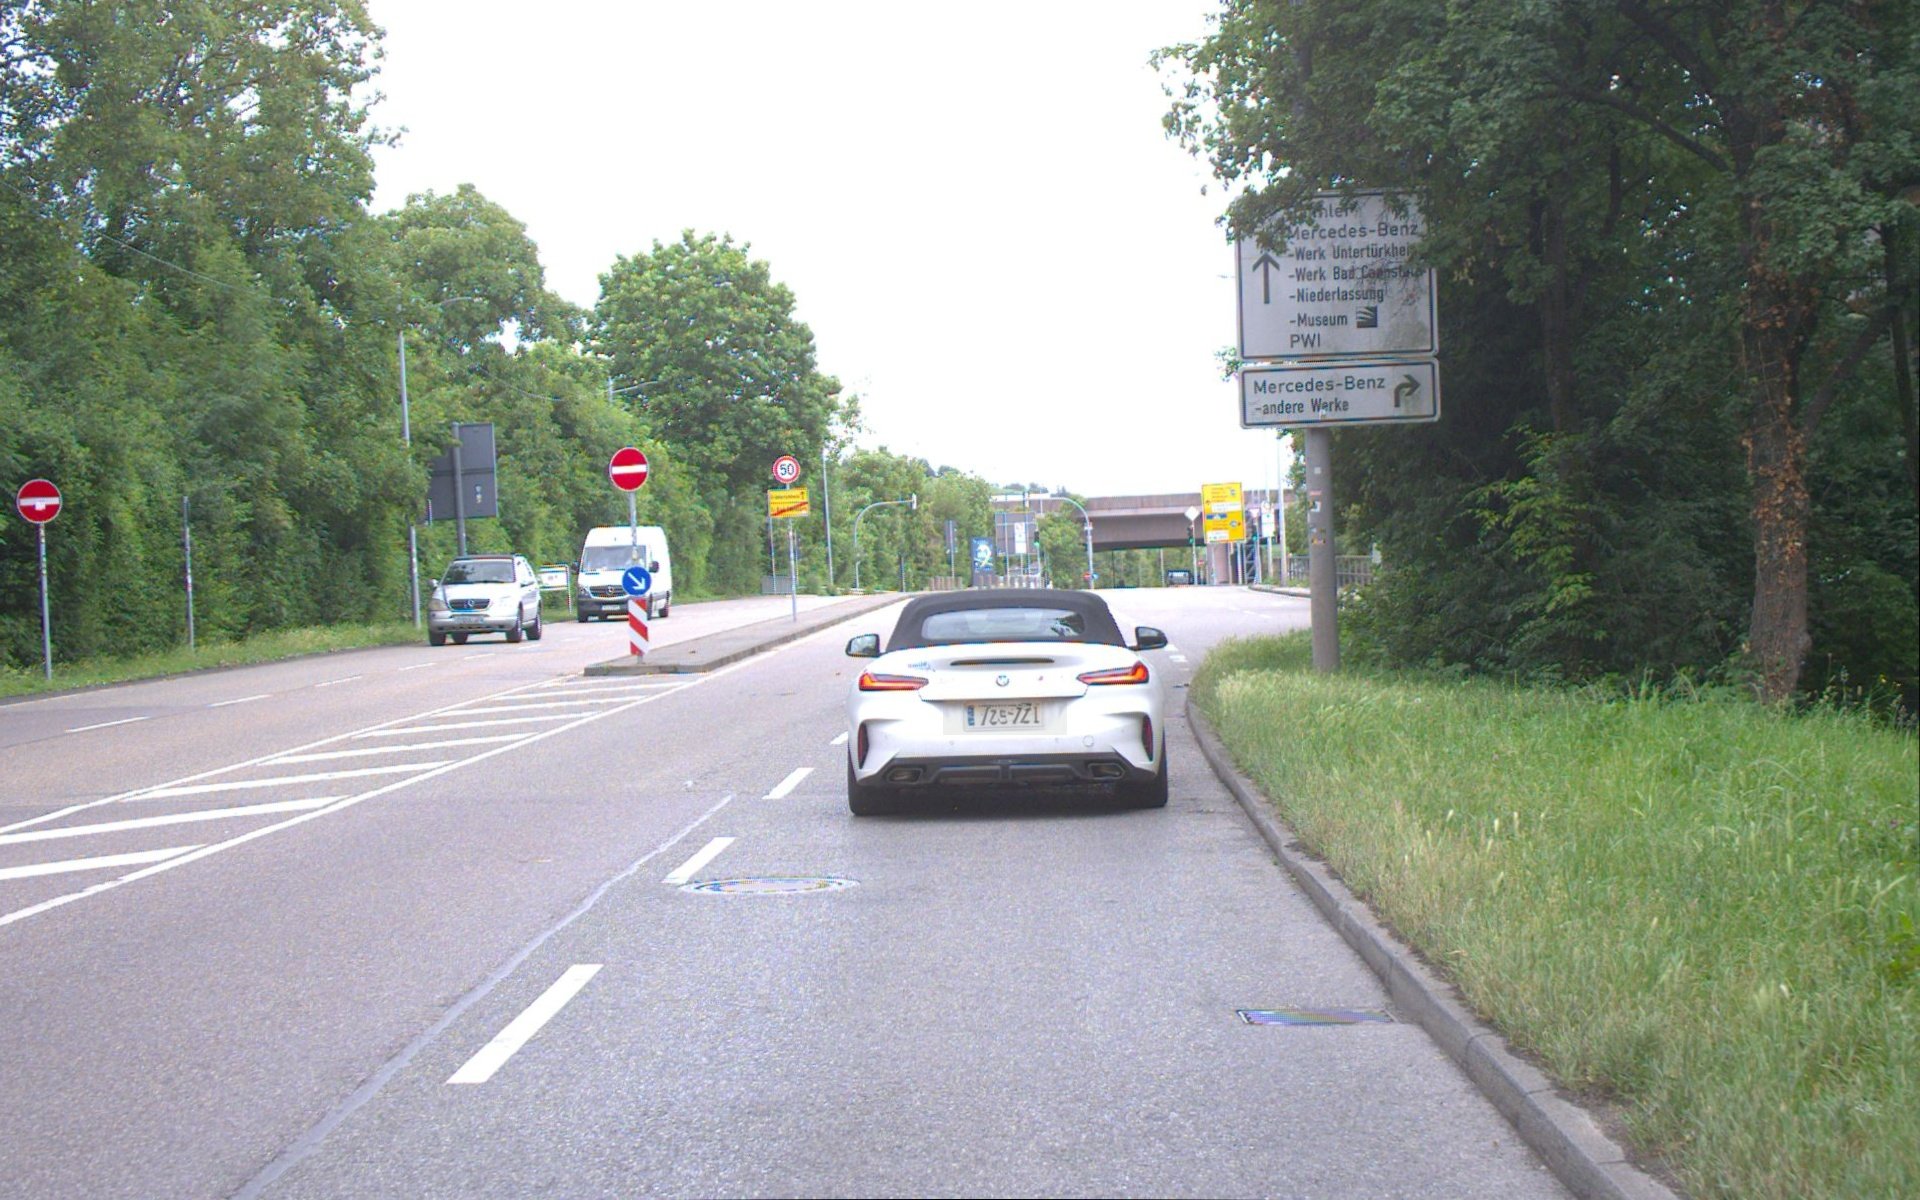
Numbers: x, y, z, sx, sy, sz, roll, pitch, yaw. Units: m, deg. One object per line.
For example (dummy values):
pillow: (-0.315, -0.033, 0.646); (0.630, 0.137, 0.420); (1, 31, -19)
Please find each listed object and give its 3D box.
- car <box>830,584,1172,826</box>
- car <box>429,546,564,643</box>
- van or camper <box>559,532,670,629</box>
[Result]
car: (0.278, 0.585, 21.170); (1.875, 1.305, 3.873); (-2, 0, 1)
car: (-9.387, -0.139, 69.951); (1.813, 1.824, 4.383); (-2, 1, 4)
van or camper: (-9.457, -0.526, 94.704); (2.283, 2.546, 6.859); (0, 0, 1)
